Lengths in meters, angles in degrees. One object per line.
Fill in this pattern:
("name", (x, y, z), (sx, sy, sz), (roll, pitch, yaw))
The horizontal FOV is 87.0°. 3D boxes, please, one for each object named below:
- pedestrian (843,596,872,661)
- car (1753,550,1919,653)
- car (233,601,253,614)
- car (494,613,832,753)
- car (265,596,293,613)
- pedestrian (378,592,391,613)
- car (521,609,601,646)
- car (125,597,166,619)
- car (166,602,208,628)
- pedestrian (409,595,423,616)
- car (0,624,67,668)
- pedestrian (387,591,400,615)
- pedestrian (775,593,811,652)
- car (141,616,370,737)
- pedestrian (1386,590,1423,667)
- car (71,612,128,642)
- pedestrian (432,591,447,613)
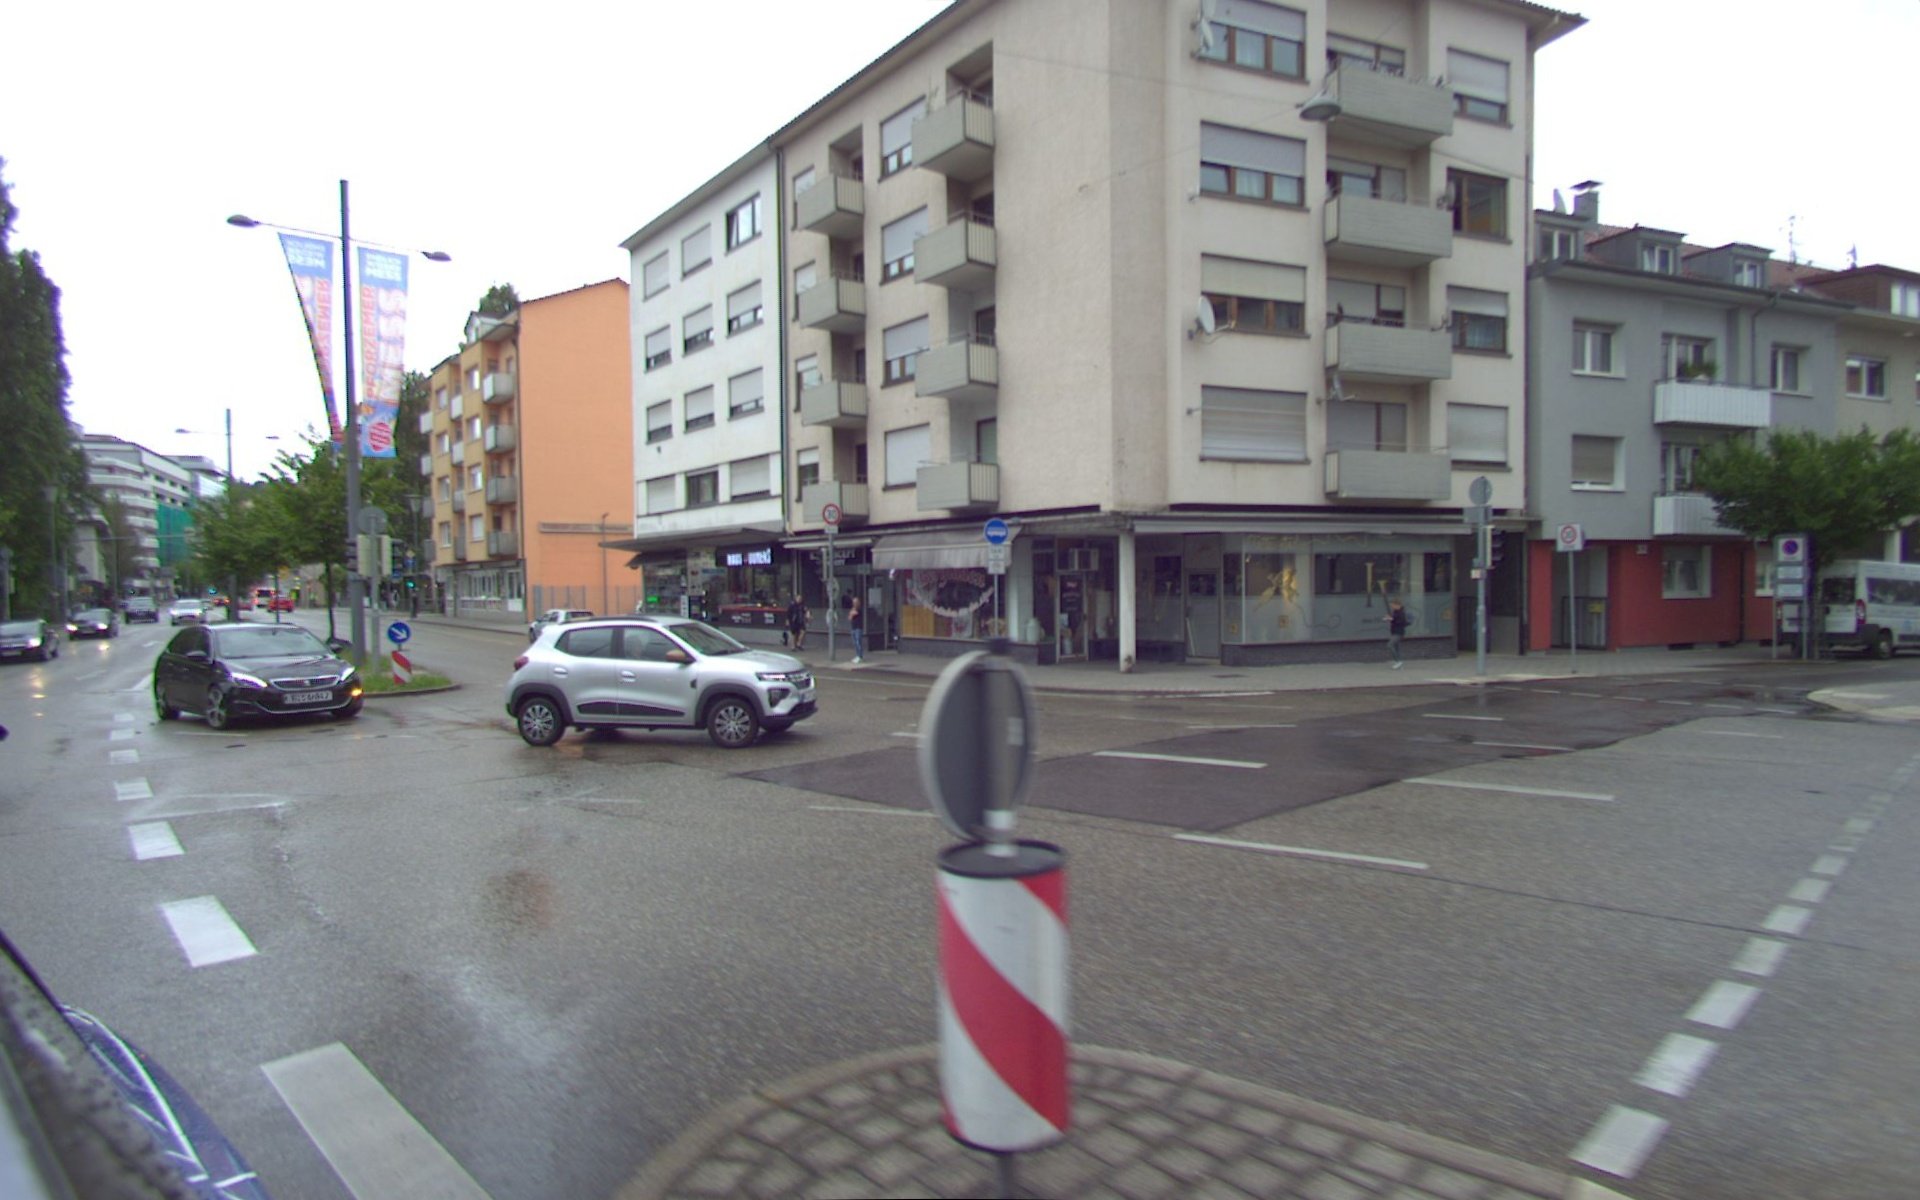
("pedestrian", (-2.818, 0.768, 27.839), (0.446, 1.743, 0.526), (-6, 3, -35))
("car", (24.006, 0.011, 26.629), (5.167, 2.528, 2.414), (-1, 0, -18))
("car", (-81.963, 0.859, 115.667), (1.547, 1.404, 3.841), (0, 0, -39))
("car", (-3.509, 0.951, 12.126), (3.593, 1.472, 1.535), (-1, 0, 13))
("car", (-59.053, 0.399, 87.693), (1.583, 1.441, 3.952), (1, 0, -40))
("pedestrian", (-46.909, 0.194, 82.464), (0.755, 1.708, 0.801), (-1, 1, -41))
("car", (-15.731, 1.054, 39.802), (1.655, 1.402, 4.158), (1, -1, -41))
("car", (-57.209, 0.573, 71.150), (1.866, 1.499, 4.372), (0, -1, -34))
("car", (-49.926, 0.959, 65.441), (1.866, 1.588, 4.372), (0, -1, -34))
("pedestrian", (-38.193, 0.381, 71.072), (0.607, 1.451, 0.555), (-2, 3, 32))
("car", (-33.324, 1.587, 35.935), (1.866, 1.410, 4.372), (0, -1, -34))
("pedestrian", (-44.426, 0.219, 79.385), (0.735, 1.901, 0.801), (-1, 1, -41))
("pedestrian", (-5.144, 0.683, 31.208), (0.767, 1.742, 0.662), (-6, 3, -36))
("car", (-10.768, 1.035, 15.349), (4.394, 1.444, 1.781), (0, 2, 41))
("pedestrian", (9.998, 0.624, 22.774), (0.603, 1.662, 0.521), (3, 4, 41))
("car", (-43.194, 1.334, 50.870), (1.867, 1.432, 4.371), (0, -1, -36))
("pedestrian", (-41.029, 0.139, 79.801), (0.678, 1.703, 0.742), (-1, 1, 20))
